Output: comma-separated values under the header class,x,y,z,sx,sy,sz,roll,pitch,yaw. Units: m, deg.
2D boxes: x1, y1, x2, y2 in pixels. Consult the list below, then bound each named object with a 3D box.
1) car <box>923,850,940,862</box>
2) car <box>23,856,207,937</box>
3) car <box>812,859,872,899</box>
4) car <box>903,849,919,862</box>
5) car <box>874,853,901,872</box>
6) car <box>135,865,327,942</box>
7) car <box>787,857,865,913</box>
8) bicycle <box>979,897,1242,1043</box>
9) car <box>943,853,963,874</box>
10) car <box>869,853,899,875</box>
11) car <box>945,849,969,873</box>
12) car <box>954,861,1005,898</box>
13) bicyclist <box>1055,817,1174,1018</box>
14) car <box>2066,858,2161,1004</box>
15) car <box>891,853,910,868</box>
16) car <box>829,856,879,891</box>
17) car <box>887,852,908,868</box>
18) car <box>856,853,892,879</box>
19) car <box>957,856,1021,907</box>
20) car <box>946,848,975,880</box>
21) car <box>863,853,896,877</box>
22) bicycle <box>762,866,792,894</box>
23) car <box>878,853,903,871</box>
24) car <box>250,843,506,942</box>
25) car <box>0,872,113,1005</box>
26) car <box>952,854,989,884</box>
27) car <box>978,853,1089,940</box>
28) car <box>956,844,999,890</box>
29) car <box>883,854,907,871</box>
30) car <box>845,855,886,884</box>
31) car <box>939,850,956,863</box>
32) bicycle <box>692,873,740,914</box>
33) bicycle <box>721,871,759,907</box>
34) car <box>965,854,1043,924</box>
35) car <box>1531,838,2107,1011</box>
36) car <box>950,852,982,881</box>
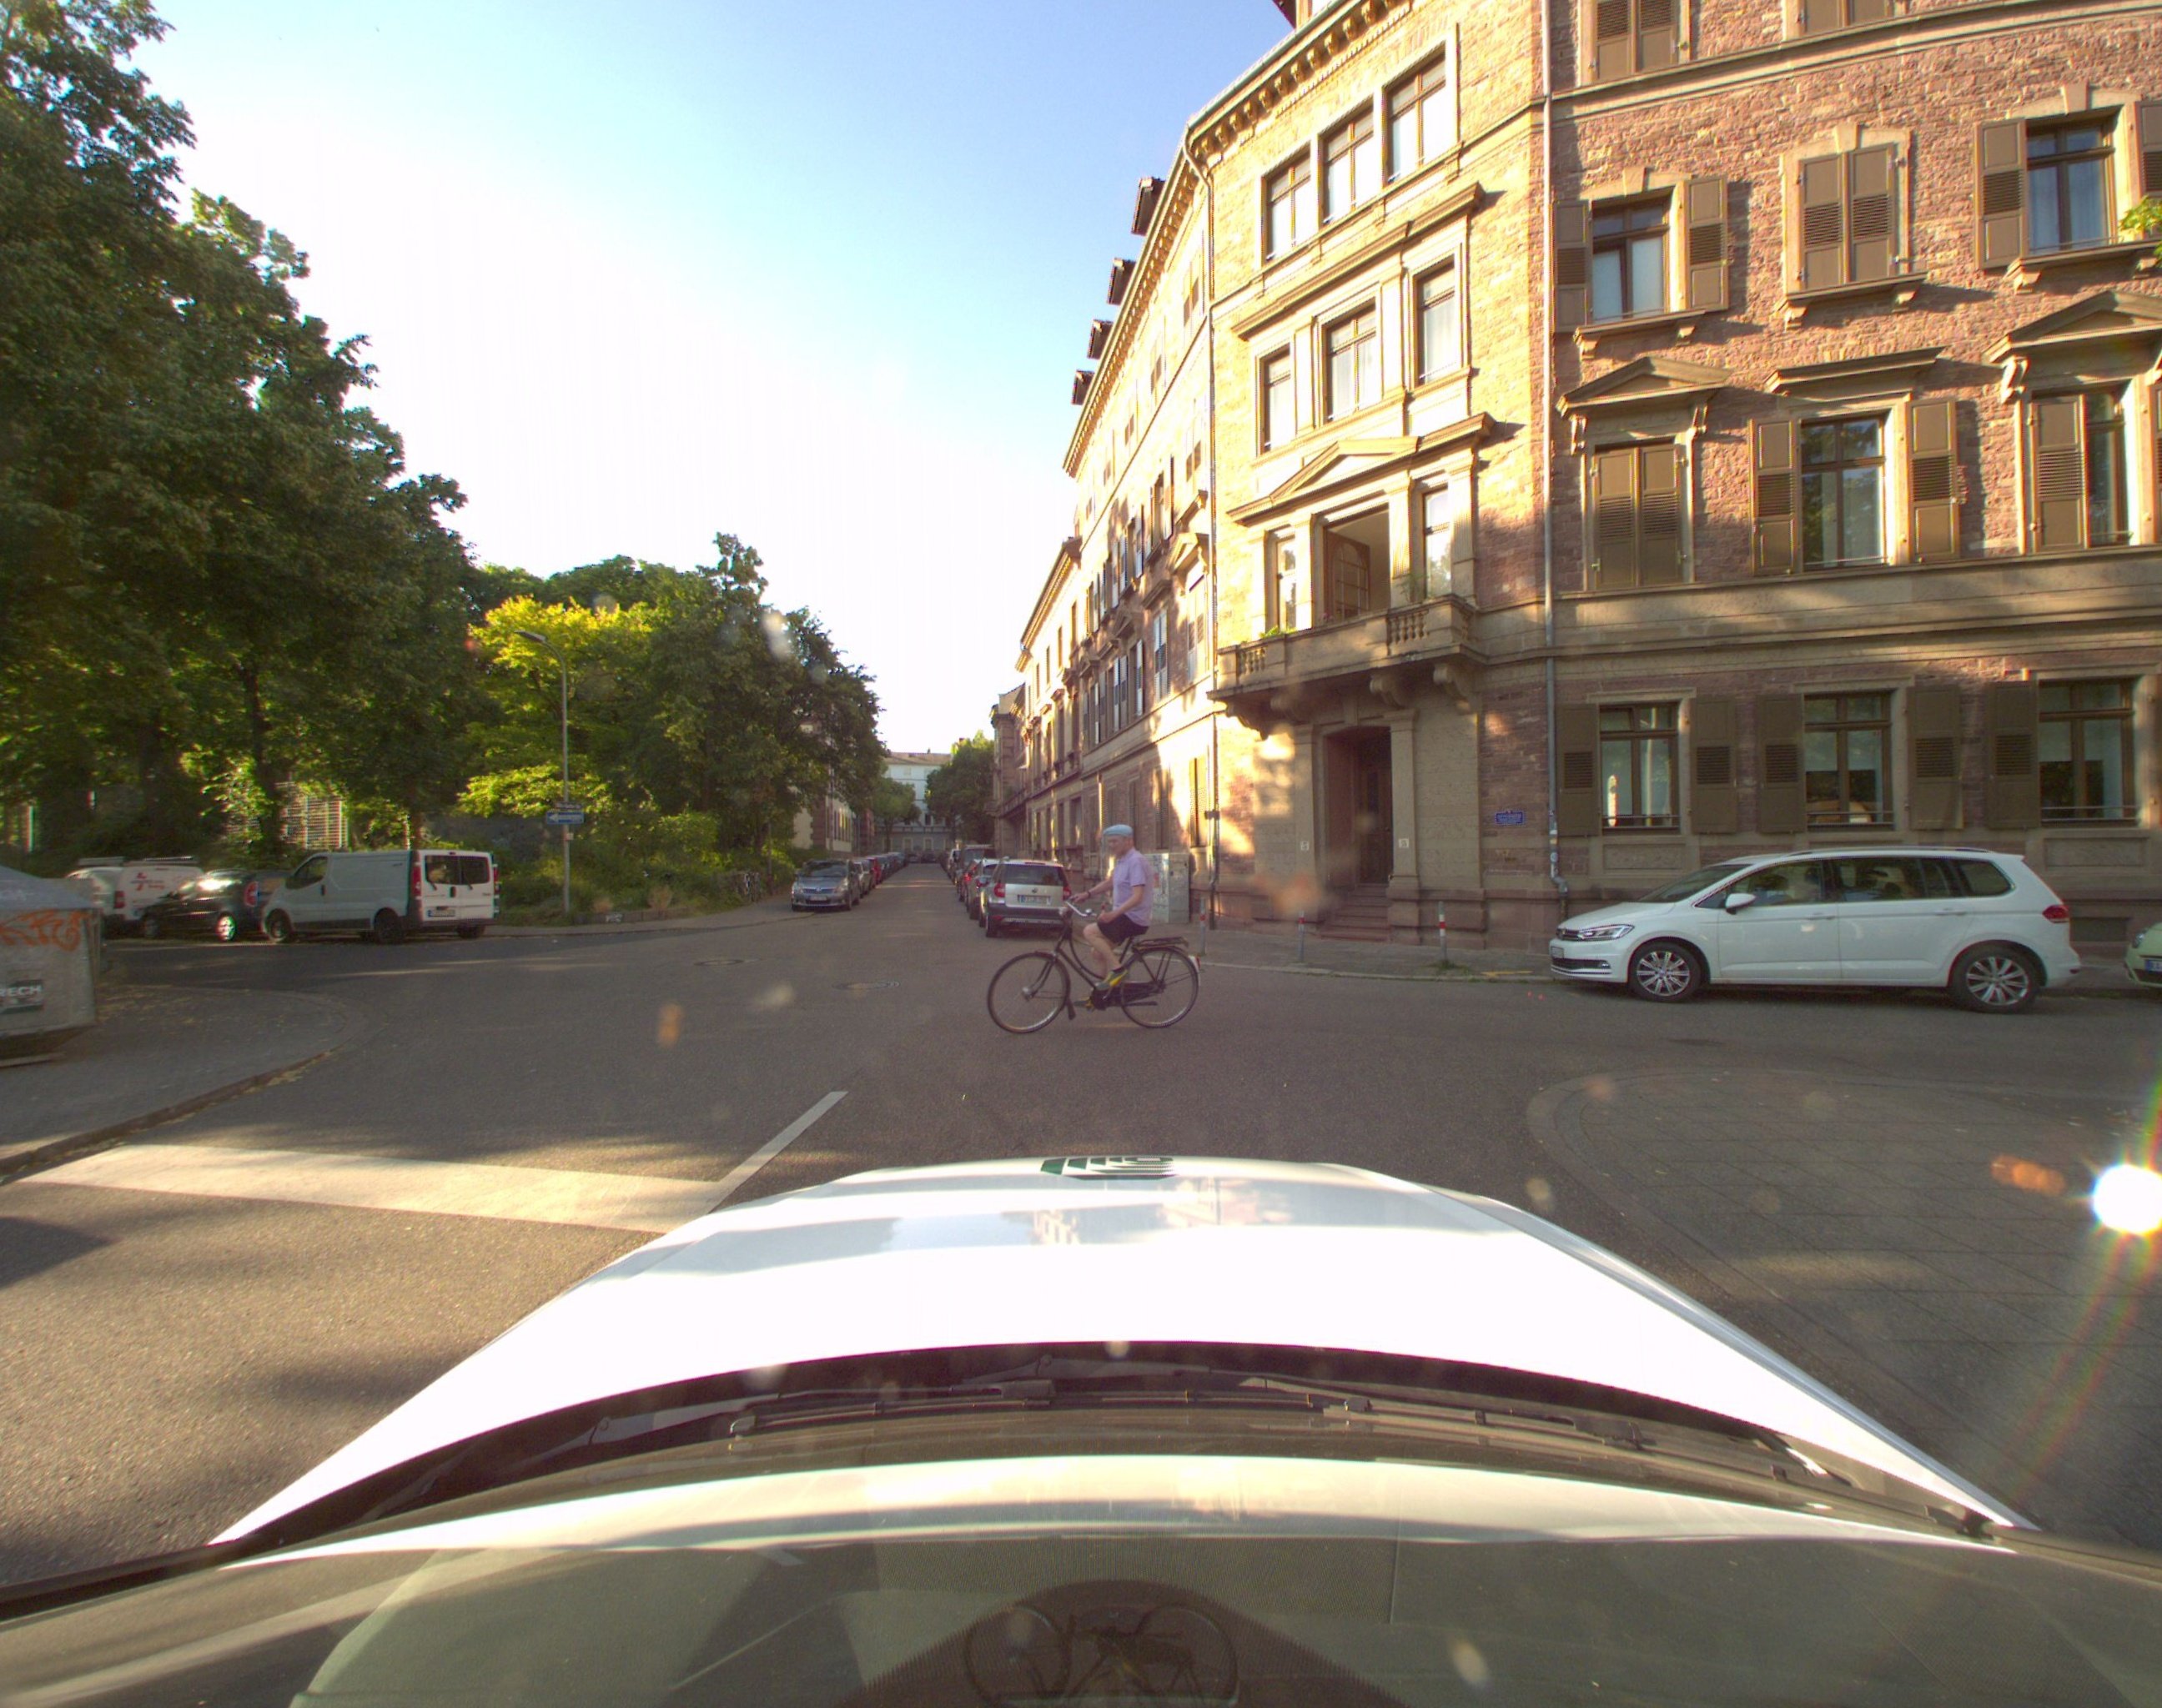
class,x,y,z,sx,sy,sz,roll,pitch,yaw
car,-21.176,0.304,115.591,1.998,1.684,3.978,1,-2,-16
car,-24.246,1.022,20.453,3.858,1.903,1.583,-1,0,17
car,-9.689,0.990,33.299,1.826,1.447,3.918,3,-1,-10
car,-23.932,0.265,114.669,1.998,1.684,3.978,1,-2,-16
car,-15.864,0.676,66.883,1.826,1.500,3.918,3,-1,-10
car,-19.914,1.119,19.100,3.671,1.637,1.583,-1,0,16
car,-8.303,0.958,26.839,1.826,1.615,4.276,3,-1,-10
bicycle,0.220,0.930,6.853,2.116,1.054,0.698,-1,0,-10
car,-12.810,0.928,81.429,1.798,2.017,3.941,2,-1,-10
car,-14.719,0.728,60.949,1.826,1.500,3.918,3,-1,-10
car,-10.240,0.580,66.900,1.798,1.839,3.941,2,-1,-10
car,-4.226,1.017,33.420,1.798,1.345,3.941,2,-1,-10
bicyclist,0.259,0.501,6.868,0.871,1.588,0.698,-1,-1,-10
car,12.887,0.779,8.038,3.686,1.490,1.748,-1,-3,14
car,-19.249,0.724,86.970,1.826,1.500,3.918,3,-1,-10
car,-10.753,0.888,38.747,1.826,1.478,3.918,3,-1,-10
car,-18.408,0.642,81.957,1.826,1.500,3.918,3,-1,-10
car,-12.925,0.734,51.023,1.826,1.500,3.918,3,-1,-10
car,-3.312,0.931,28.696,1.799,1.614,3.938,2,-1,-13
car,-8.280,0.676,55.766,1.798,2.072,3.941,2,-1,-10
car,-13.928,0.749,56.407,1.826,1.500,3.918,3,-1,-10
bicycle,-12.410,1.039,33.291,0.596,1.101,2.619,-1,0,-9
car,-16.561,0.696,70.962,1.826,1.500,3.918,3,-1,-10
car,-15.375,0.799,17.867,4.610,2.003,1.958,-1,0,15
car,-13.933,0.943,9.118,3.756,1.521,1.588,3,-3,-44
car,-6.081,0.795,44.482,1.798,1.524,3.941,2,-1,-10
car,-1.197,0.881,18.302,1.916,1.657,4.171,3,-1,-11
car,-5.021,0.607,39.159,1.798,2.072,3.941,2,-1,-10
car,-17.314,0.771,75.963,1.826,1.500,3.918,3,-1,-10
car,-11.874,0.826,45.063,1.826,1.500,3.918,3,-1,-10
car,-19.133,0.345,116.642,1.998,1.684,3.978,1,-2,-16
bicycle,-10.815,1.133,24.226,0.596,1.101,2.620,-1,0,-8
bicycle,-11.242,1.126,26.903,0.597,1.101,2.618,-1,0,-10
car,-2.290,0.914,23.243,1.826,1.723,4.528,3,-1,-10
car,7.846,0.732,9.254,4.450,1.650,1.882,-1,-3,15
car,-7.128,0.745,50.191,1.798,1.623,3.941,2,-1,-10
